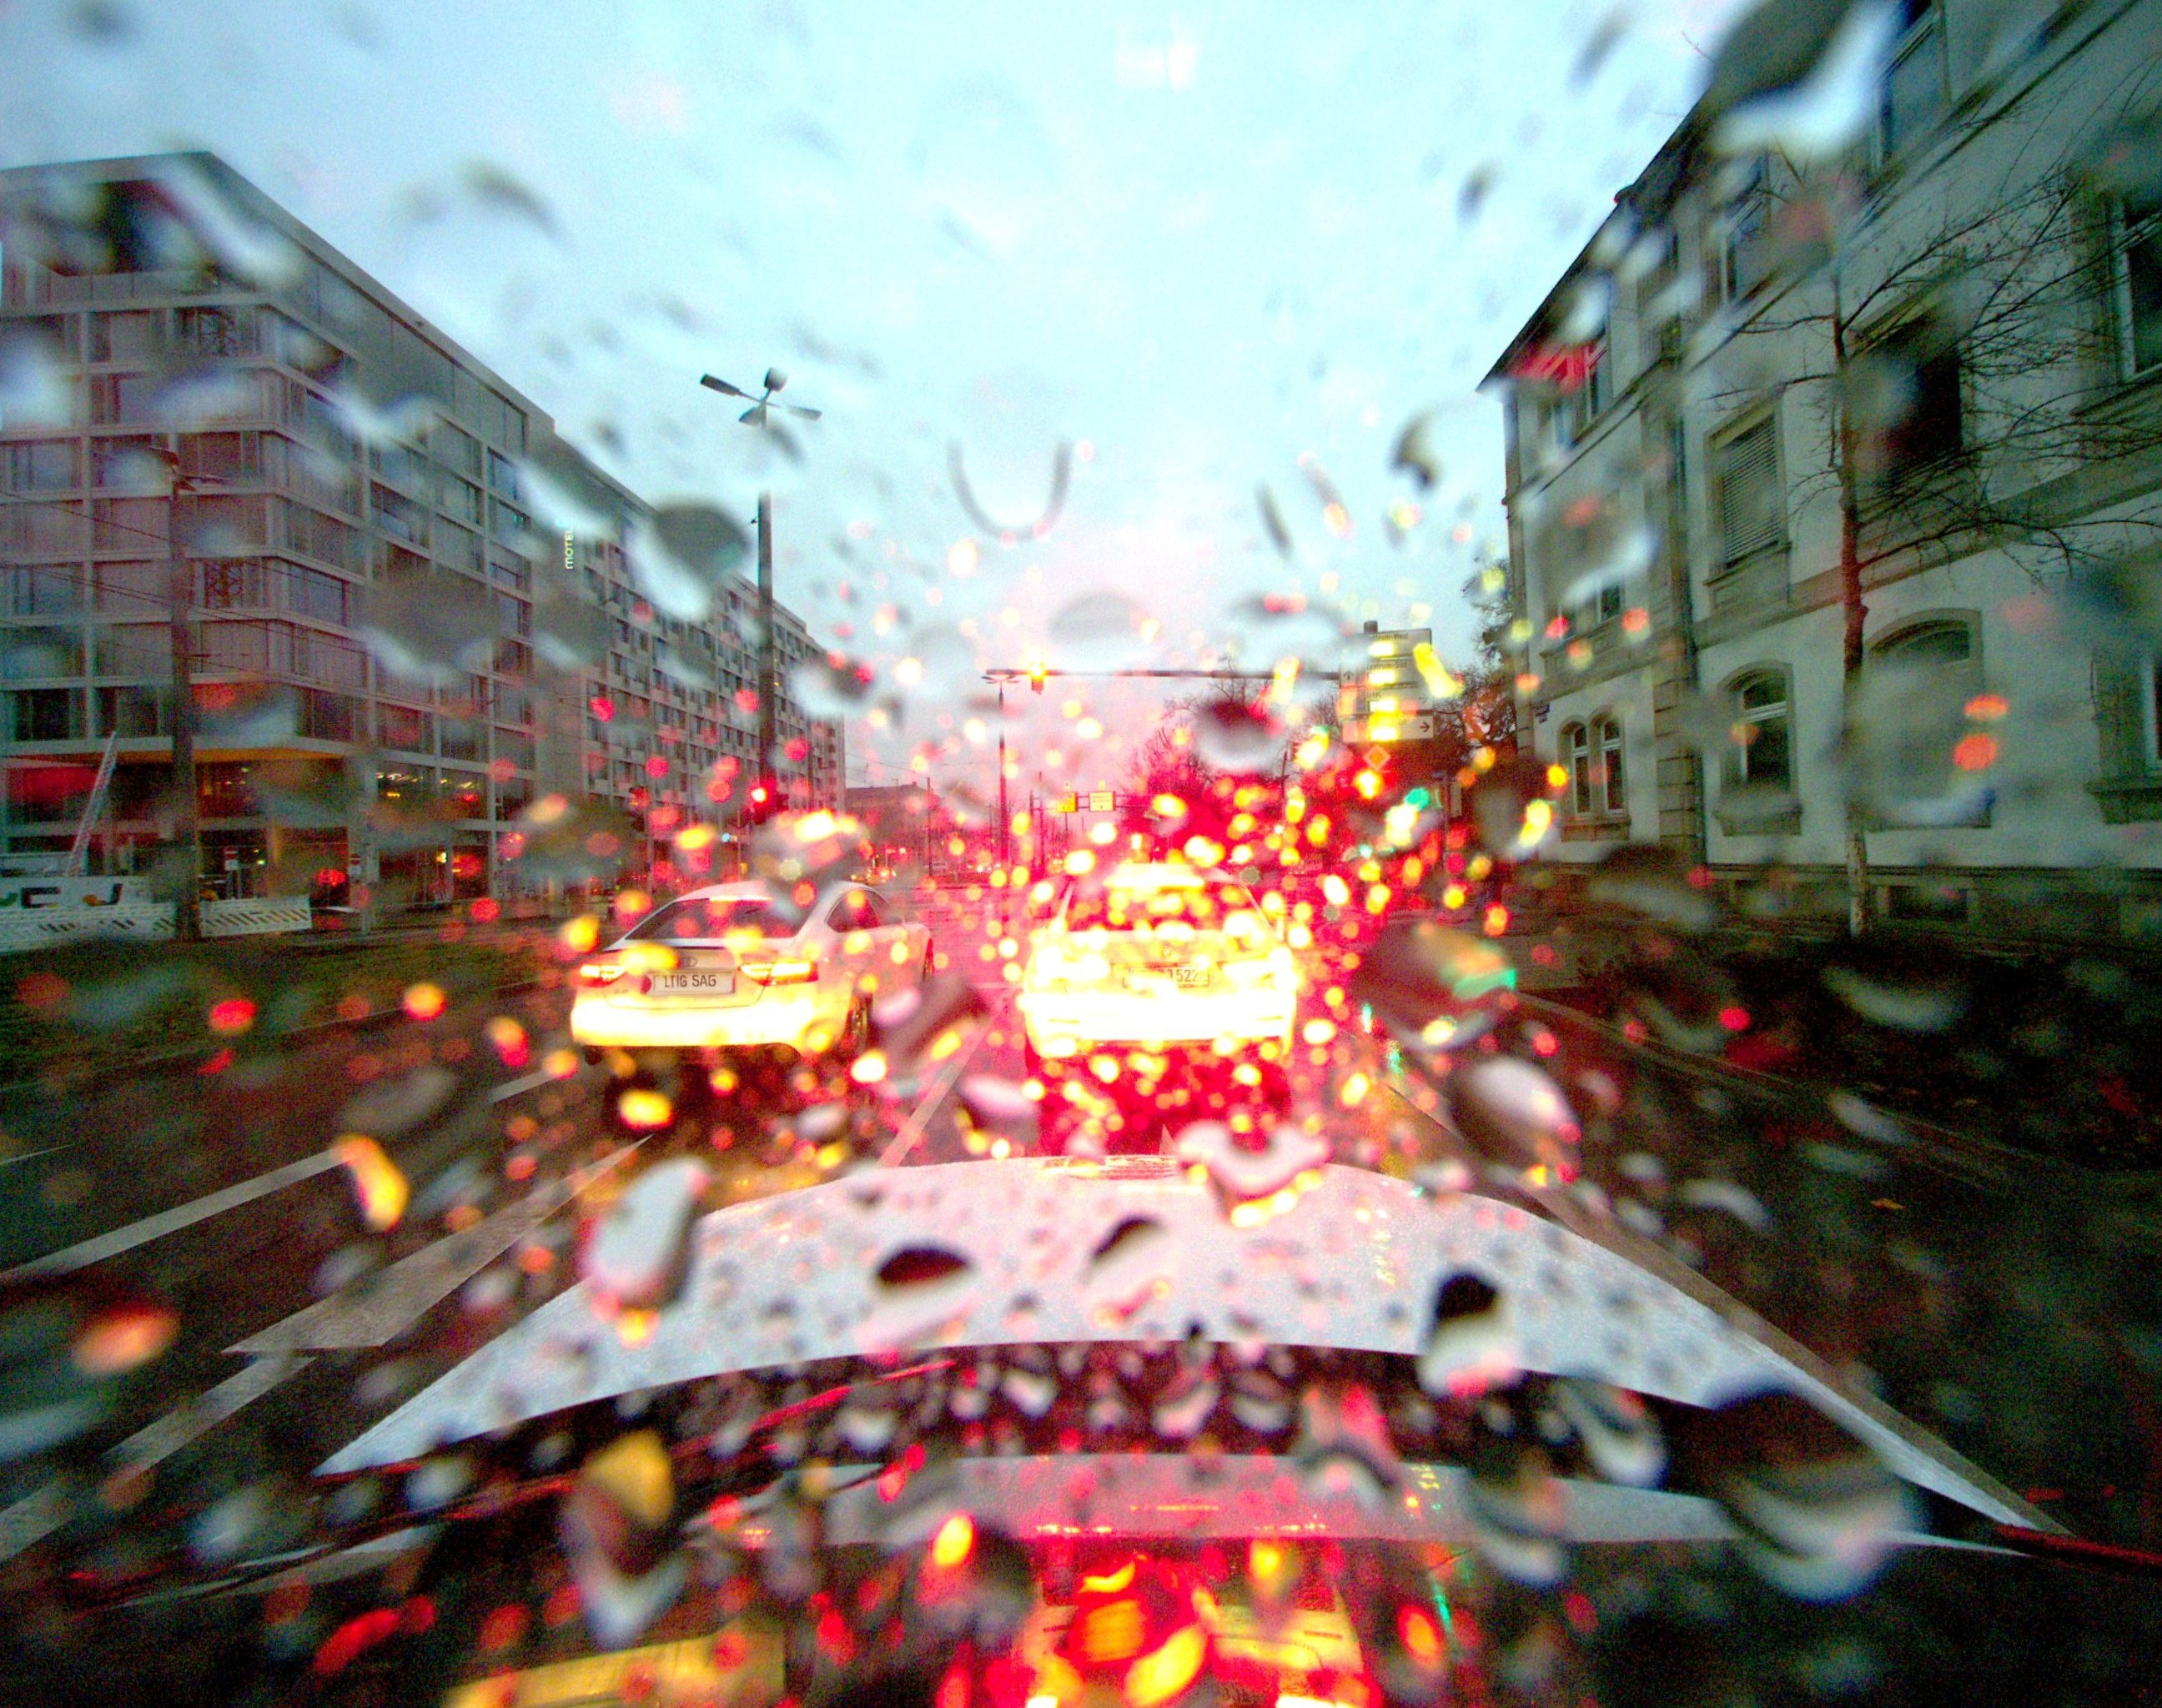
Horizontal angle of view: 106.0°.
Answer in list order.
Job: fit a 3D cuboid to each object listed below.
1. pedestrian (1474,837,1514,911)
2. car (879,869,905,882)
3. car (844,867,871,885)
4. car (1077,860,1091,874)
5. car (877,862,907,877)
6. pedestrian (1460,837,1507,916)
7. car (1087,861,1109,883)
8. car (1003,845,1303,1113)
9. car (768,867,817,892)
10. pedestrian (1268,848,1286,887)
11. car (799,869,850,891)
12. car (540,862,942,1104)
[{"bbox_3d":[9.430,0.454,18.575,0.774,1.632,1.017,-1,-1,27],"label":"pedestrian"},{"bbox_3d":[-23.138,2.665,100.060,1.987,1.462,5.094,0,0,0],"label":"car"},{"bbox_3d":[-19.278,1.903,70.329,1.995,1.462,5.073,0,-1,-12],"label":"car"},{"bbox_3d":[0.436,1.942,121.151,1.986,2.014,4.001,0,-1,2],"label":"car"},{"bbox_3d":[-18.883,1.538,81.637,1.988,1.462,5.090,0,-1,-2],"label":"car"},{"bbox_3d":[8.334,0.449,16.908,0.775,1.579,1.016,-1,-1,21],"label":"pedestrian"},{"bbox_3d":[1.631,1.621,75.486,1.986,2.014,4.001,0,-1,2],"label":"car"},{"bbox_3d":[0.421,0.746,6.911,1.754,1.552,4.250,0,-1,0],"label":"car"},{"bbox_3d":[-21.754,1.890,61.665,1.874,1.789,4.601,0,-1,2],"label":"car"},{"bbox_3d":[9.567,0.669,39.776,0.671,1.879,0.715,0,-1,-1],"label":"pedestrian"},{"bbox_3d":[-18.745,1.891,59.866,1.986,1.462,5.097,0,0,2],"label":"car"},{"bbox_3d":[-2.456,0.811,7.151,1.754,1.470,4.250,0,-1,0],"label":"car"}]
